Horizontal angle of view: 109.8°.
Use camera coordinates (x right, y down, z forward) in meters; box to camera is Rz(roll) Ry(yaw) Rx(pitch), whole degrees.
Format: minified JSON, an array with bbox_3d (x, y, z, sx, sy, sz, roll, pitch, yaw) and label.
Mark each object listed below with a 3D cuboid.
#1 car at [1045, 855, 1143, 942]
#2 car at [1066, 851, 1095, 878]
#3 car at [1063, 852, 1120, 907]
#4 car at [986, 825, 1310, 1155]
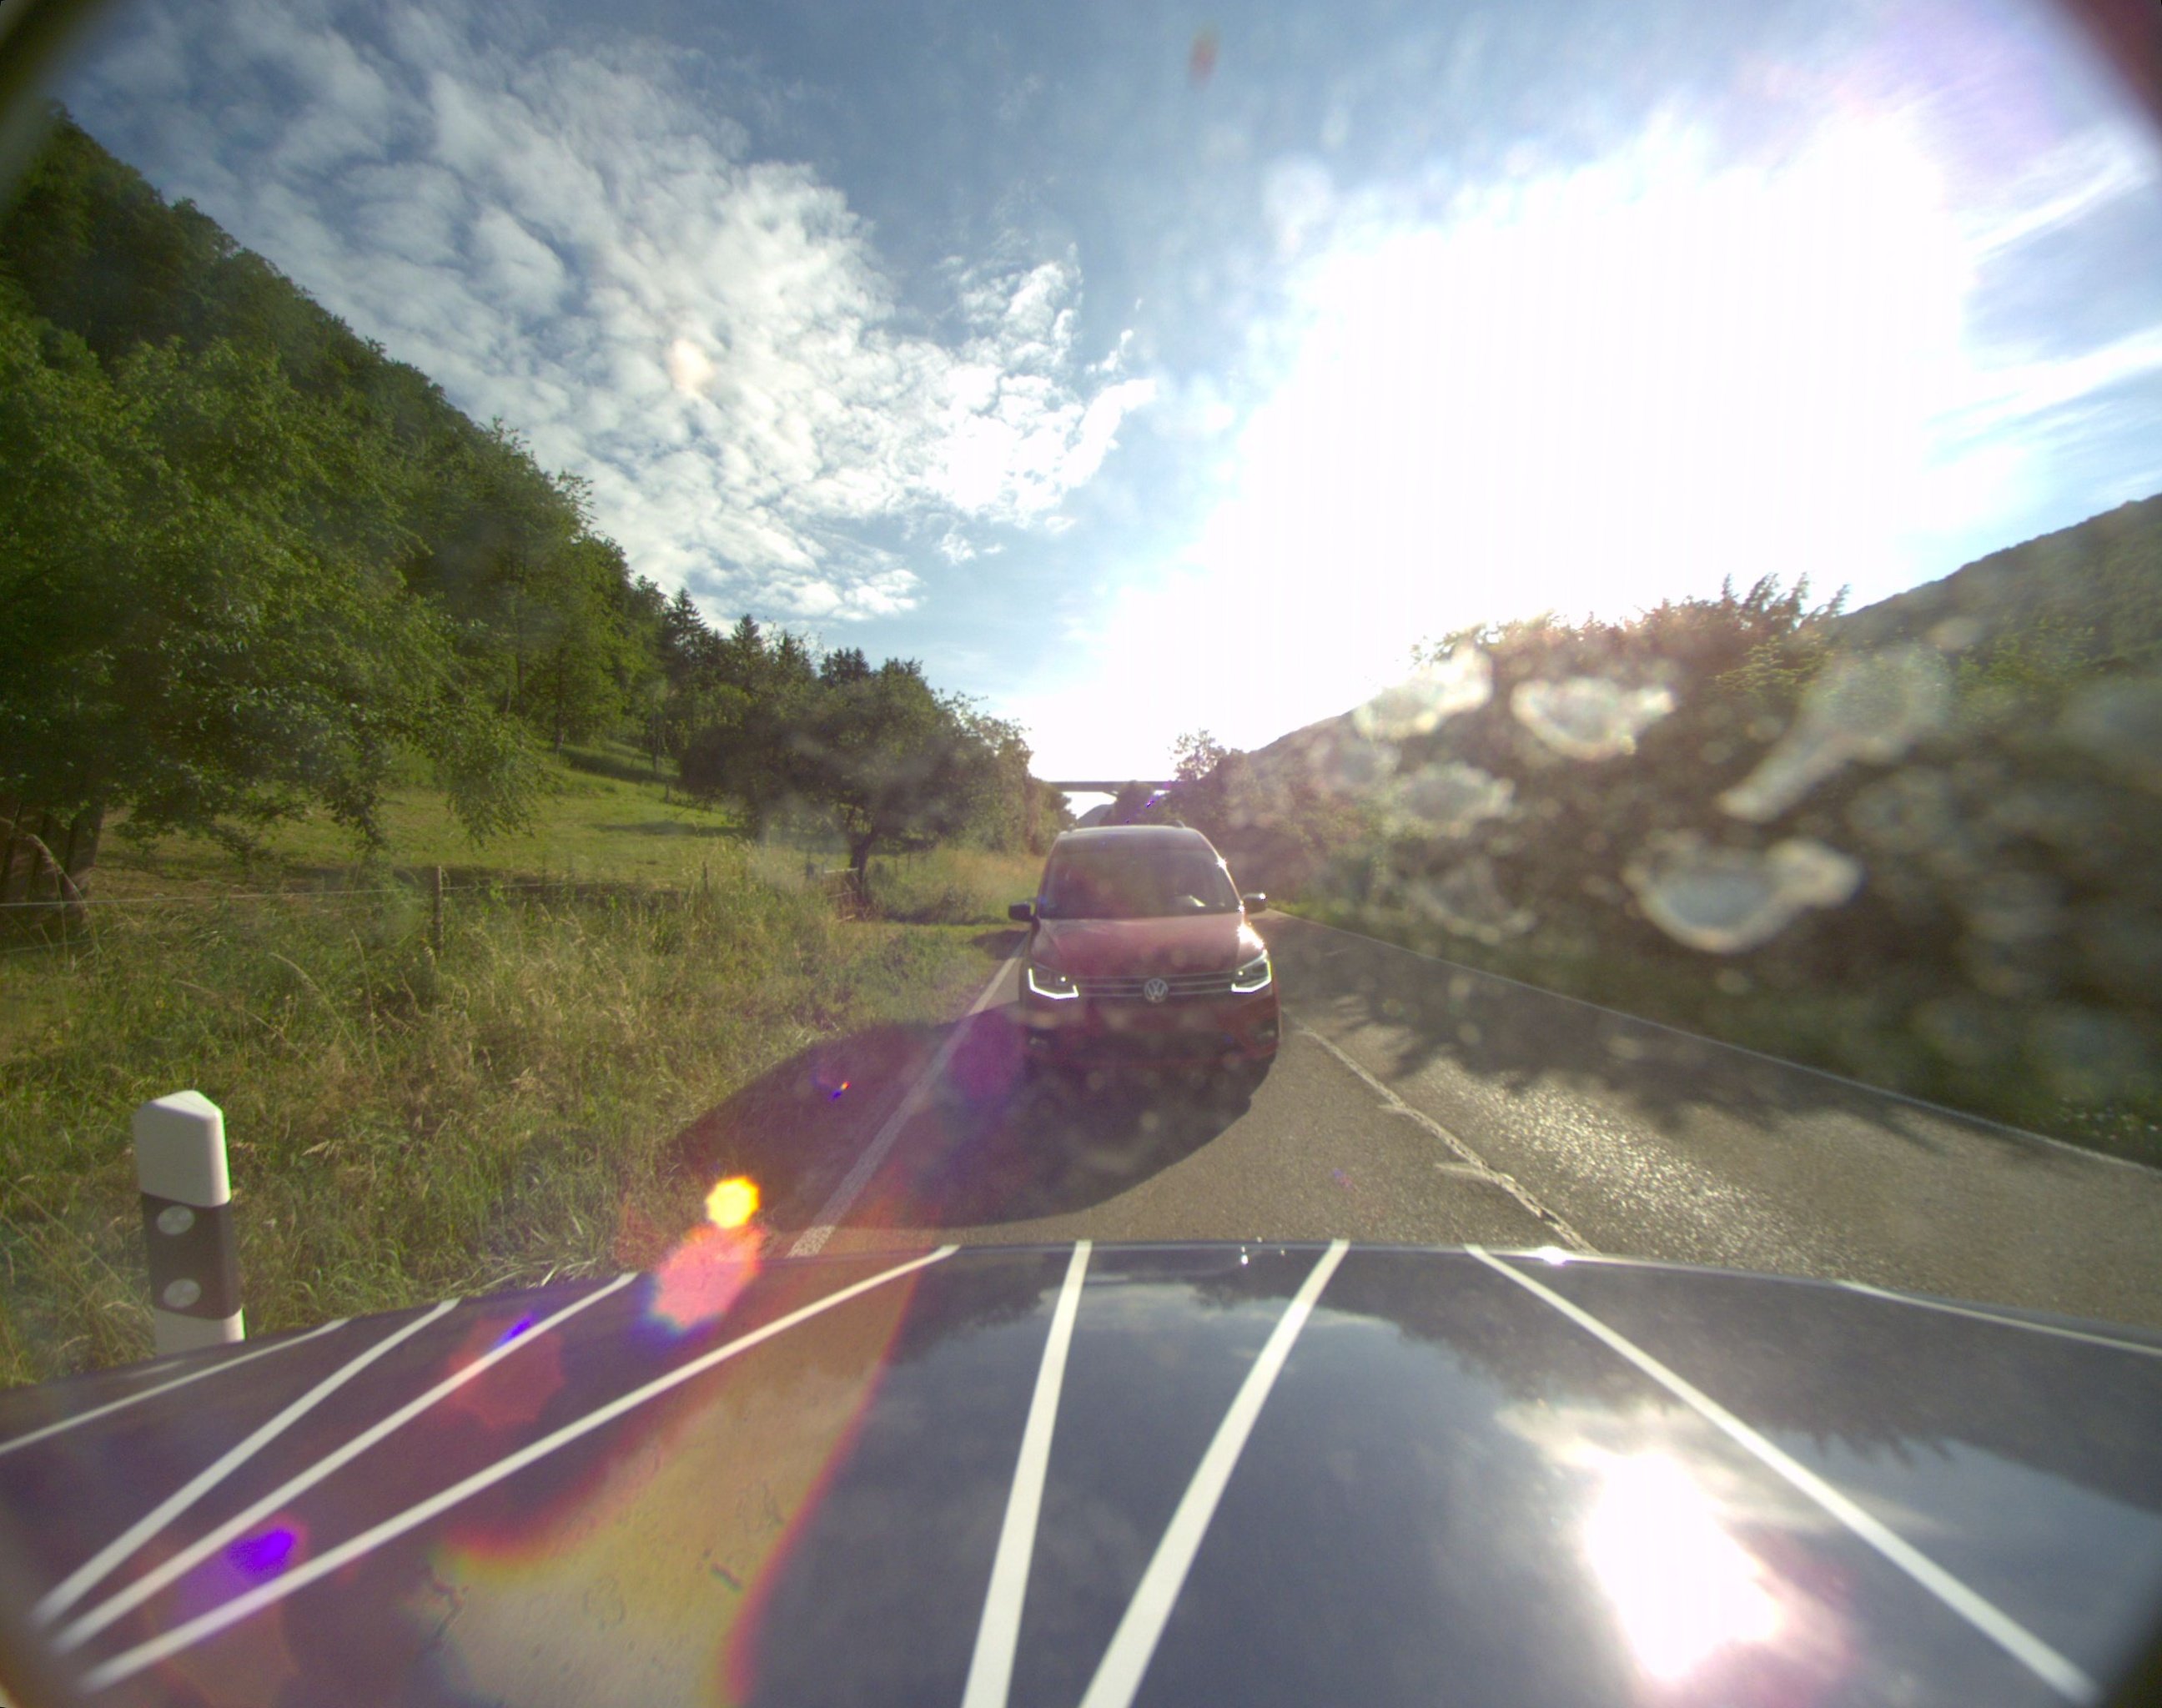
[{"bbox_3d":[0.282,0.845,16.485,1.753,1.513,4.288,-3,1,1],"label":"car"},{"bbox_3d":[-0.012,0.662,51.339,1.753,1.608,4.288,-3,1,1],"label":"car"},{"bbox_3d":[0.379,0.818,26.600,1.753,1.608,4.288,-3,1,1],"label":"car"},{"bbox_3d":[0.417,0.766,6.504,1.753,1.799,4.288,-3,1,1],"label":"car"}]
